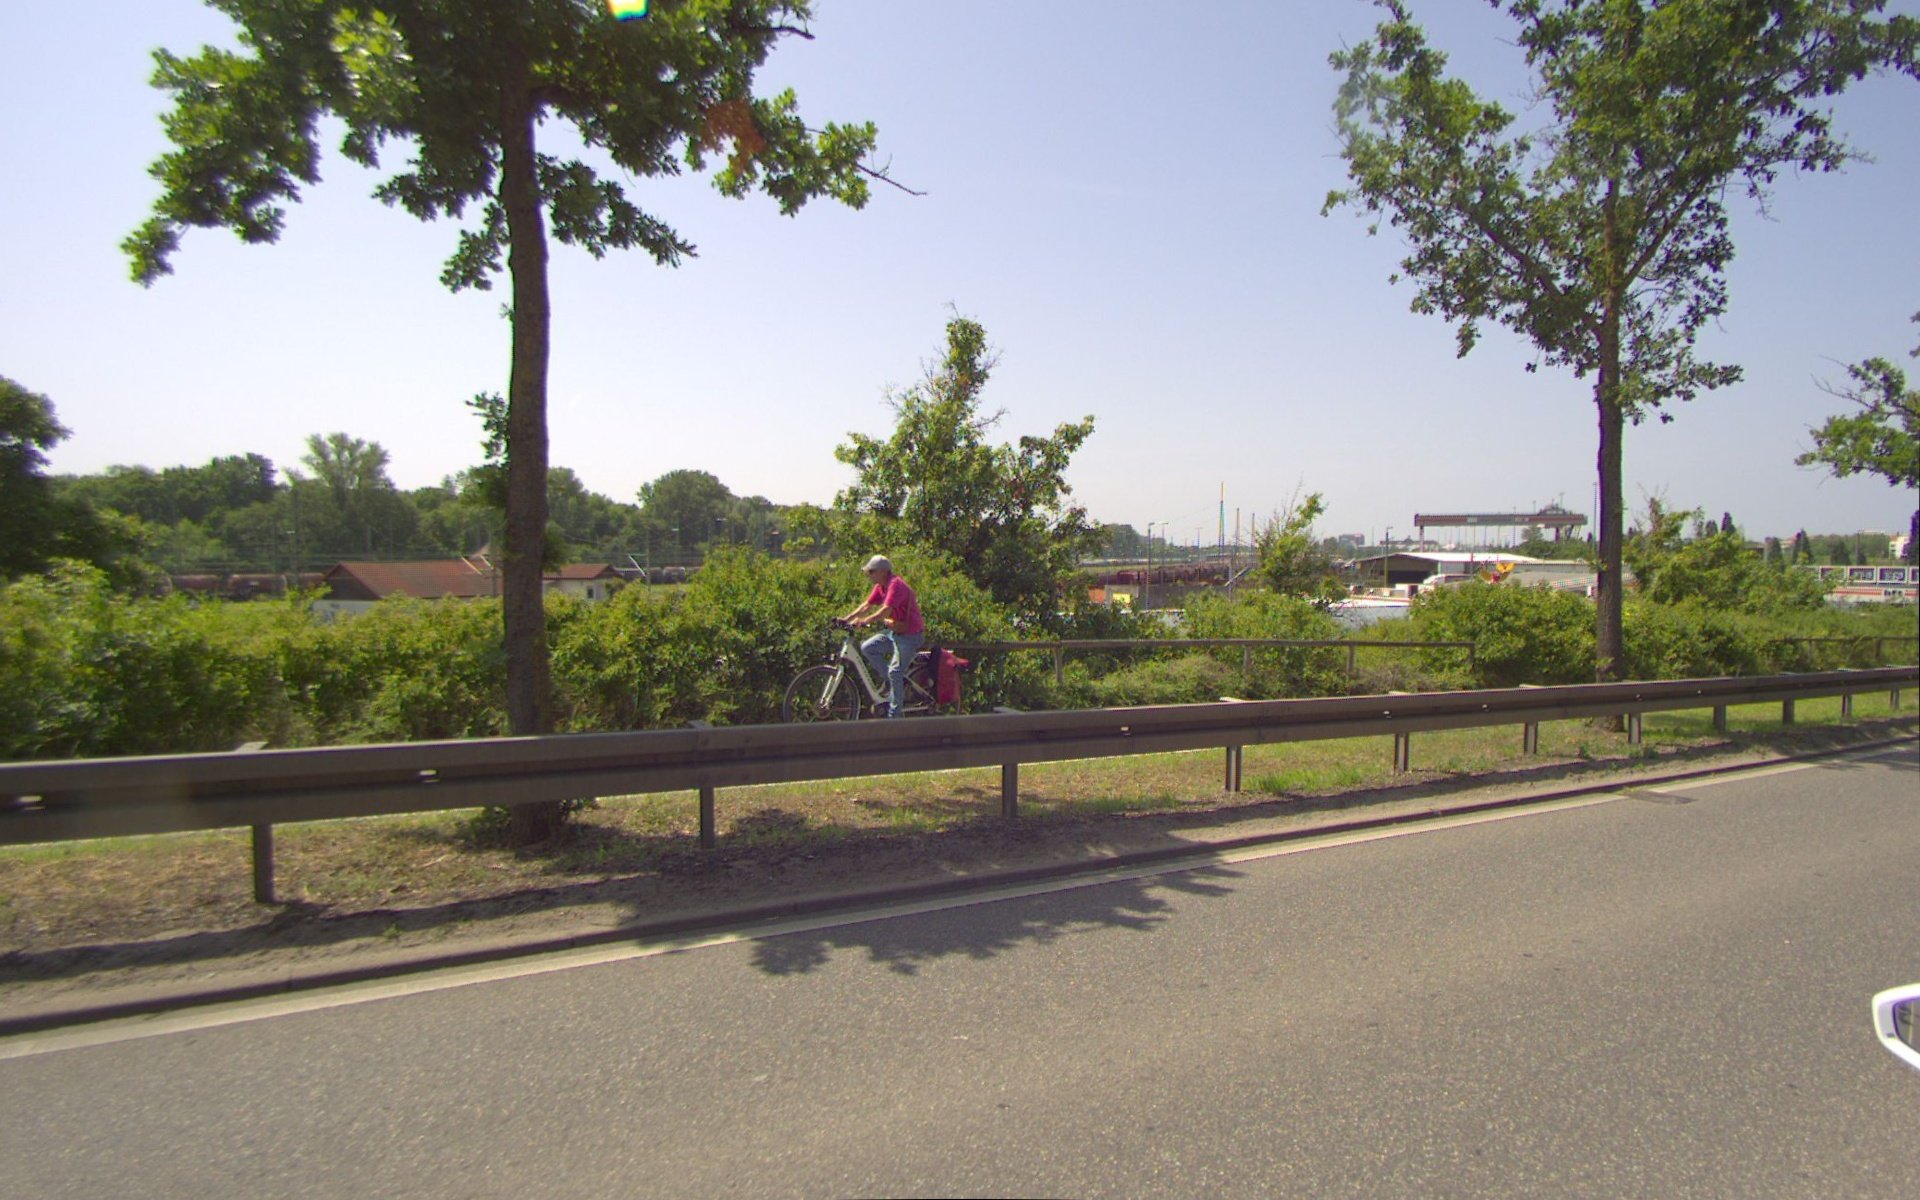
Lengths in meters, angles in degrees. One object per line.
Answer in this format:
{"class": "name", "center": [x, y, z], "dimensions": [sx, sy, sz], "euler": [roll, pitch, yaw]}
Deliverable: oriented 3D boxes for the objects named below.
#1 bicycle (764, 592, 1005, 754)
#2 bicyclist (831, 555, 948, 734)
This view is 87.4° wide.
{"class": "bicycle", "center": [-0.644, 0.602, 8.972], "dimensions": [2.023, 1.298, 0.730], "euler": [1, 1, -32]}
{"class": "bicyclist", "center": [-0.636, 0.371, 8.964], "dimensions": [0.748, 1.509, 0.737], "euler": [1, 1, -32]}
